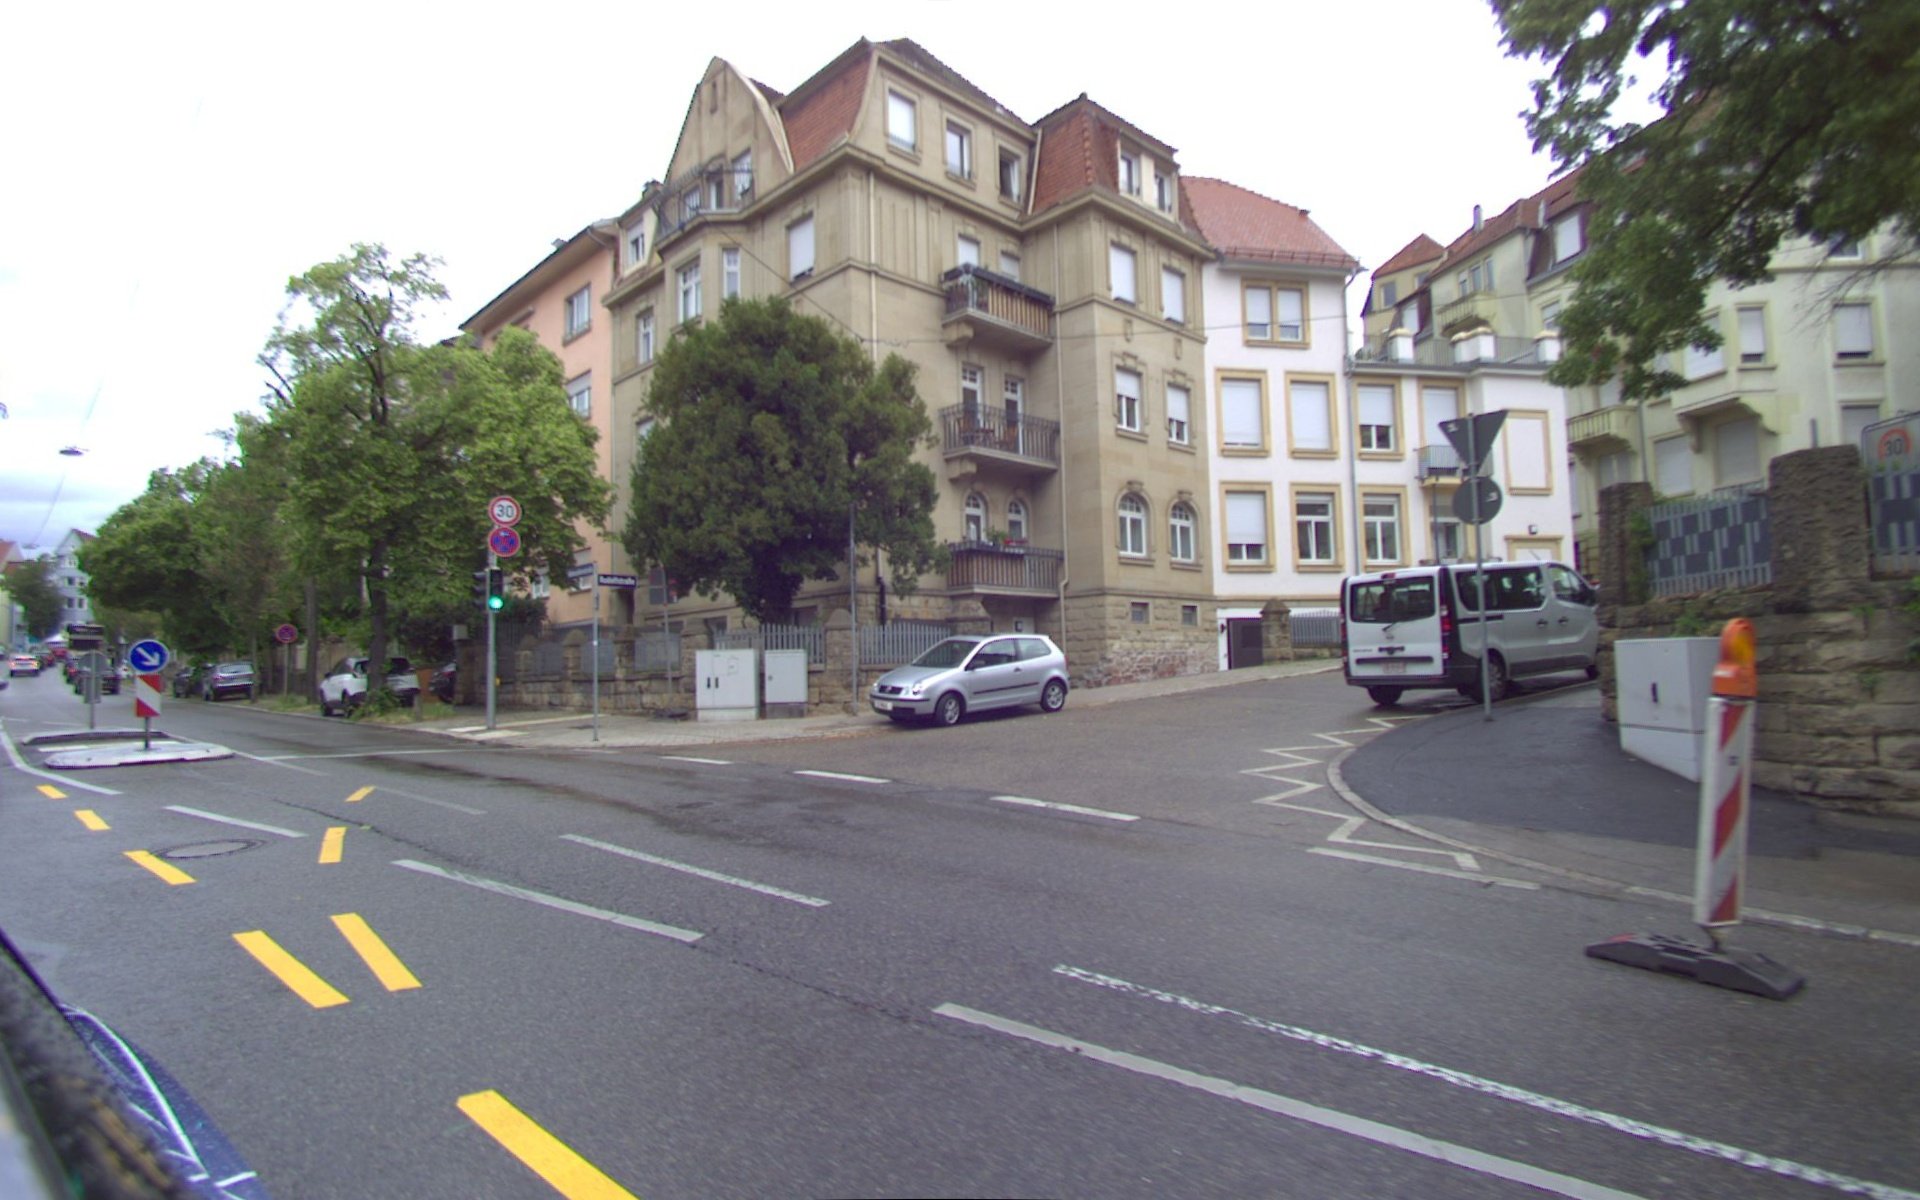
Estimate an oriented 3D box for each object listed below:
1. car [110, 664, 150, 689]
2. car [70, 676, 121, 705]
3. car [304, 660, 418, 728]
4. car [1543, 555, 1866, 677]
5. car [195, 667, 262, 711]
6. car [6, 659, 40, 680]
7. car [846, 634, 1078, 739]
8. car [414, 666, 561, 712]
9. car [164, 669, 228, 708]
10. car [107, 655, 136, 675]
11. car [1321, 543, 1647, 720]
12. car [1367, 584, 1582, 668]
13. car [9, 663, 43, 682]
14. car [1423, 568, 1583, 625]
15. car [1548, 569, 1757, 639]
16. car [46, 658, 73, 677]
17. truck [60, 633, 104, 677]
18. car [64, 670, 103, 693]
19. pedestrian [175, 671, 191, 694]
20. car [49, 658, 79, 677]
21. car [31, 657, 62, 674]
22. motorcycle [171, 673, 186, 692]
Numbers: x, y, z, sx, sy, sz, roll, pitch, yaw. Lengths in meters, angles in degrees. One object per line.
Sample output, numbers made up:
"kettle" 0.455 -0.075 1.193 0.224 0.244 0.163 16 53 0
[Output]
"car" -60.235 5.523 73.424 4.303 1.571 1.722 -3 -2 44
"car" -47.566 4.989 55.662 1.794 1.529 4.551 4 -7 -44
"car" -16.203 2.461 27.299 1.721 1.571 4.305 0 -2 -44
"car" 12.769 0.294 17.448 4.369 1.525 2.119 -6 -2 -17
"car" -30.841 3.703 42.633 1.721 1.571 4.305 0 -2 -44
"car" -72.506 5.354 78.361 1.750 1.529 4.105 3 -4 -41
"car" 0.089 1.440 18.007 3.813 1.419 1.829 -3 1 -39
"car" -15.278 2.843 32.835 1.837 1.337 3.942 -5 -5 44
"car" -36.638 4.203 48.483 4.302 1.571 1.722 -3 -1 43
"car" -76.884 5.950 92.834 1.971 1.607 3.834 -2 0 -39
"car" 7.961 0.414 15.305 4.599 2.063 2.031 -6 -1 -30
"car" 11.819 0.556 23.355 4.089 1.687 1.925 -2 1 -13
"car" -76.918 5.952 83.399 1.740 1.442 3.892 2 -2 -39
"car" 15.712 -0.120 29.375 3.773 1.485 1.780 -2 1 -11
"car" 16.566 0.062 24.322 3.775 1.485 1.923 -2 1 -7
"car" -89.710 6.751 100.852 1.631 1.721 4.122 4 -4 -38
"truck" -82.286 5.197 94.774 2.616 3.884 9.315 5 -6 -43
"car" -62.086 5.771 71.687 1.751 1.529 4.593 2 -5 -45
"pedestrian" -48.840 5.173 63.611 0.757 1.443 0.650 3 -4 -42
"car" -72.886 5.485 82.337 1.750 1.479 4.754 2 -3 -41
"car" -82.078 5.865 90.956 1.689 1.491 4.122 4 -5 -38
"motorcycle" -52.685 5.541 68.218 0.647 1.246 1.765 3 -4 -40
